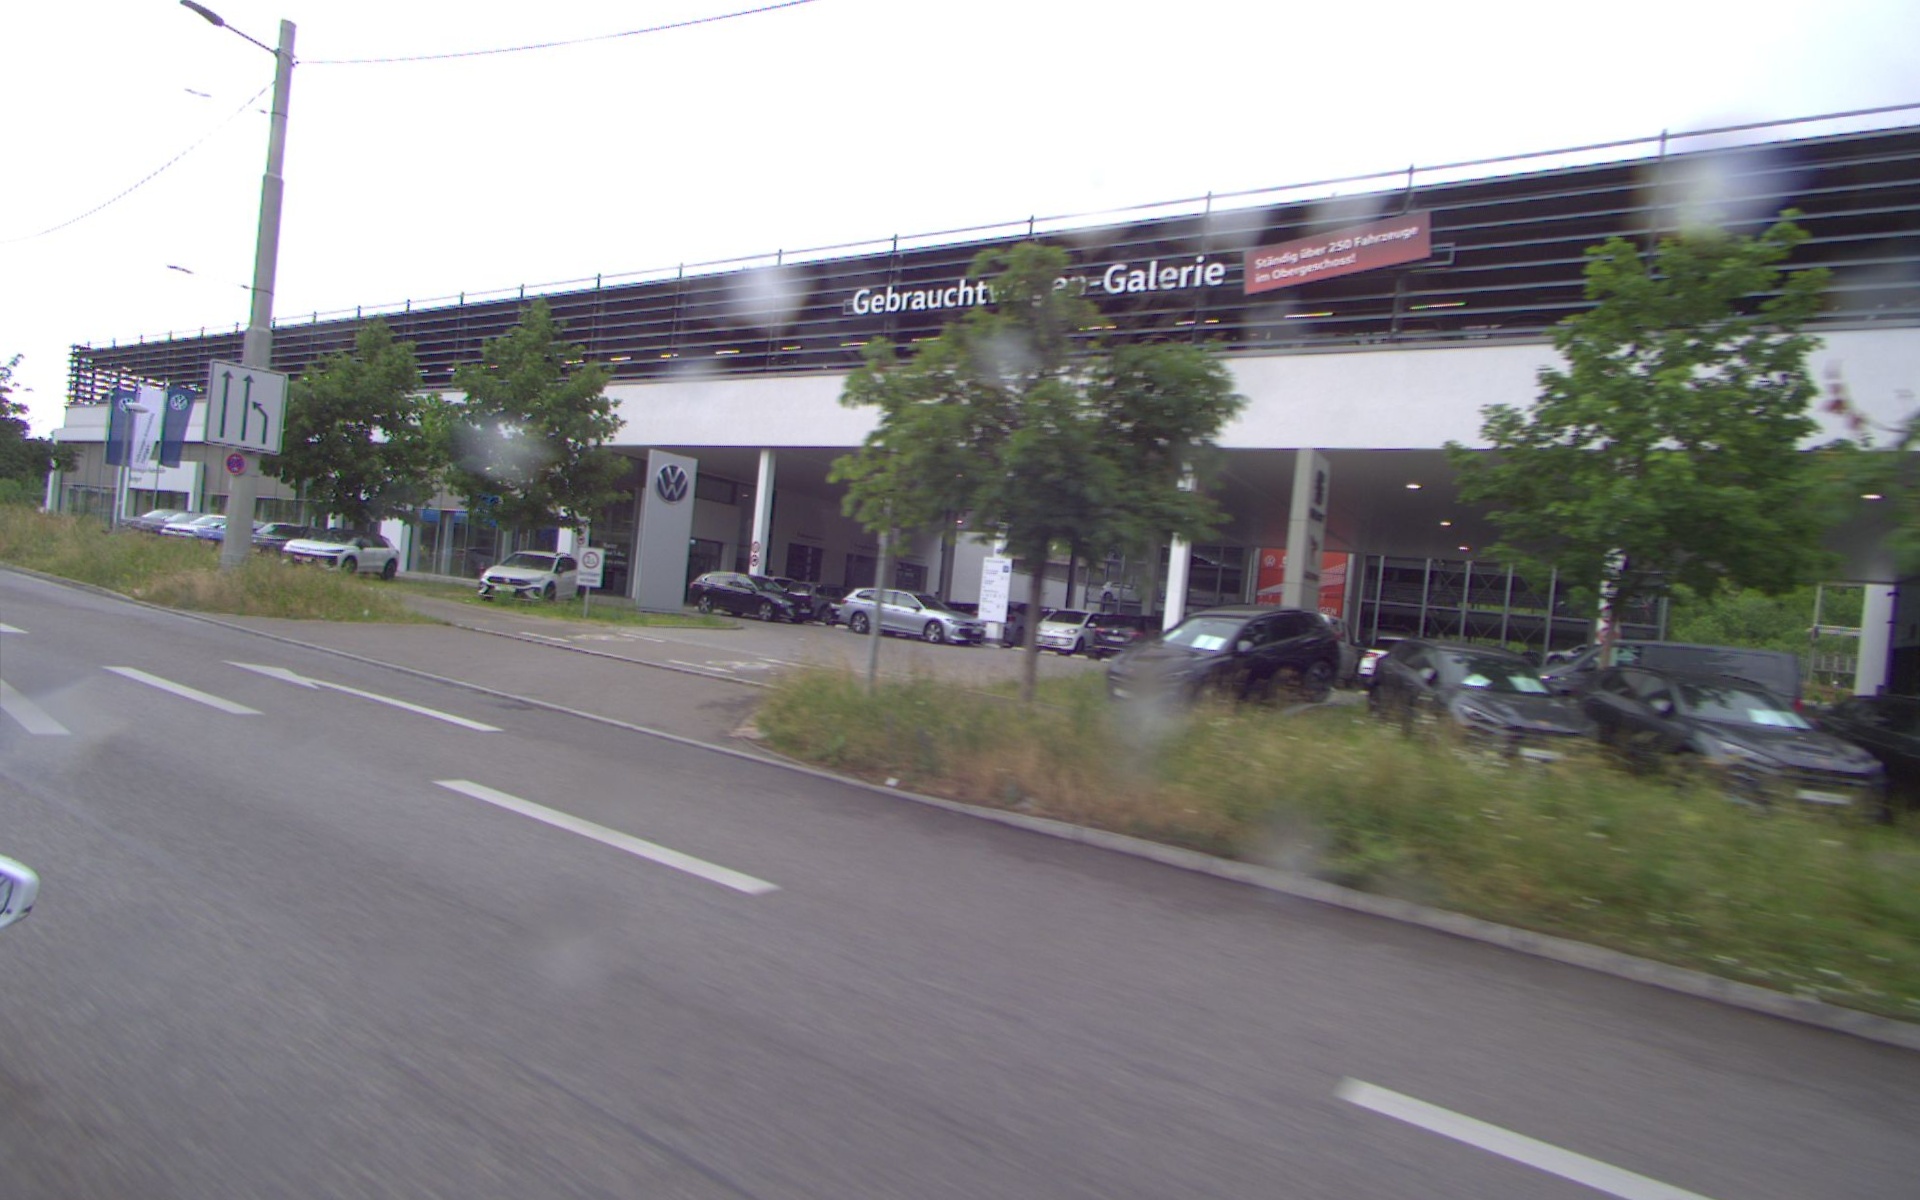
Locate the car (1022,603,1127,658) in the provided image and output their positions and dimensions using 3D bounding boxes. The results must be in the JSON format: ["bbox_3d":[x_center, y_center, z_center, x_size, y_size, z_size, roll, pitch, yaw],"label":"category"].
[{"bbox_3d":[3.753,1.020,32.441,1.735,1.442,3.991,7,0,31],"label":"car"}]

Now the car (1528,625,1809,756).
[{"bbox_3d":[14.292,1.772,20.649,4.355,1.963,1.889,7,1,31],"label":"car"}]

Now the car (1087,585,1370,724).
[{"bbox_3d":[4.550,0.957,16.747,4.674,1.901,1.807,5,2,-35],"label":"car"}]

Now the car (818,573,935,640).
[{"bbox_3d":[-2.880,0.271,35.530,1.861,1.747,3.993,6,-3,34],"label":"car"}]

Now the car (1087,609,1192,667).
[{"bbox_3d":[5.544,1.199,30.688,1.735,1.463,3.991,7,0,31],"label":"car"}]

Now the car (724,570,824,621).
[{"bbox_3d":[-7.229,-0.153,39.423,1.611,1.607,3.820,7,0,31],"label":"car"}]

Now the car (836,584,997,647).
[{"bbox_3d":[-1.375,0.471,31.157,4.619,1.487,1.894,6,1,32],"label":"car"}]

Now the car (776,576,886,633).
[{"bbox_3d":[-4.789,0.197,37.867,1.757,1.525,3.993,6,-3,34],"label":"car"}]

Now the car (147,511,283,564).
[{"bbox_3d":[-28.725,-2.351,38.973,1.821,1.647,4.353,5,1,3],"label":"car"}]

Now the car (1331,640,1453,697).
[{"bbox_3d":[16.534,2.608,38.549,3.934,1.612,1.806,7,1,32],"label":"car"}]

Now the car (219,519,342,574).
[{"bbox_3d":[-23.179,-1.783,34.517,1.768,1.589,4.183,5,1,-8],"label":"car"}]

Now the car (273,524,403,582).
[{"bbox_3d":[-19.865,-1.442,32.351,1.766,1.589,4.095,5,1,-4],"label":"car"}]

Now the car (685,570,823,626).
[{"bbox_3d":[-7.083,-0.084,34.427,4.617,1.487,1.780,6,1,32],"label":"car"}]

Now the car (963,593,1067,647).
[{"bbox_3d":[1.921,0.704,33.897,1.735,1.442,3.991,7,0,31],"label":"car"}]

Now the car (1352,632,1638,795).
[{"bbox_3d":[7.396,1.461,14.504,1.834,1.633,4.333,6,1,3],"label":"car"}]

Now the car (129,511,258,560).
[{"bbox_3d":[-31.214,-2.591,41.128,1.765,1.589,4.374,5,1,1],"label":"car"}]

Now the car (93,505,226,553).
[{"bbox_3d":[-34.386,-3.011,43.378,1.817,1.588,4.624,5,1,3],"label":"car"}]

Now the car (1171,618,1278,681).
[{"bbox_3d":[7.941,1.504,29.966,1.873,1.556,3.991,7,0,31],"label":"car"}]

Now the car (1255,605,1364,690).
[{"bbox_3d":[9.848,1.356,28.175,1.912,2.000,4.031,7,0,31],"label":"car"}]

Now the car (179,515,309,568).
[{"bbox_3d":[-26.034,-2.083,36.777,1.766,1.589,4.186,5,1,-2],"label":"car"}]

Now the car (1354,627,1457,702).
[{"bbox_3d":[11.942,1.714,26.830,1.873,1.652,3.991,7,0,31],"label":"car"}]

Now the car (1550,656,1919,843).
[{"bbox_3d":[9.689,1.737,13.024,1.834,1.582,4.151,6,1,6],"label":"car"}]

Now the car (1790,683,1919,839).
[{"bbox_3d":[12.004,2.035,11.514,1.792,1.625,4.152,6,1,8],"label":"car"}]

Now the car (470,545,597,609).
[{"bbox_3d":[-11.727,-0.610,27.948,1.715,1.484,4.097,5,1,0],"label":"car"}]
